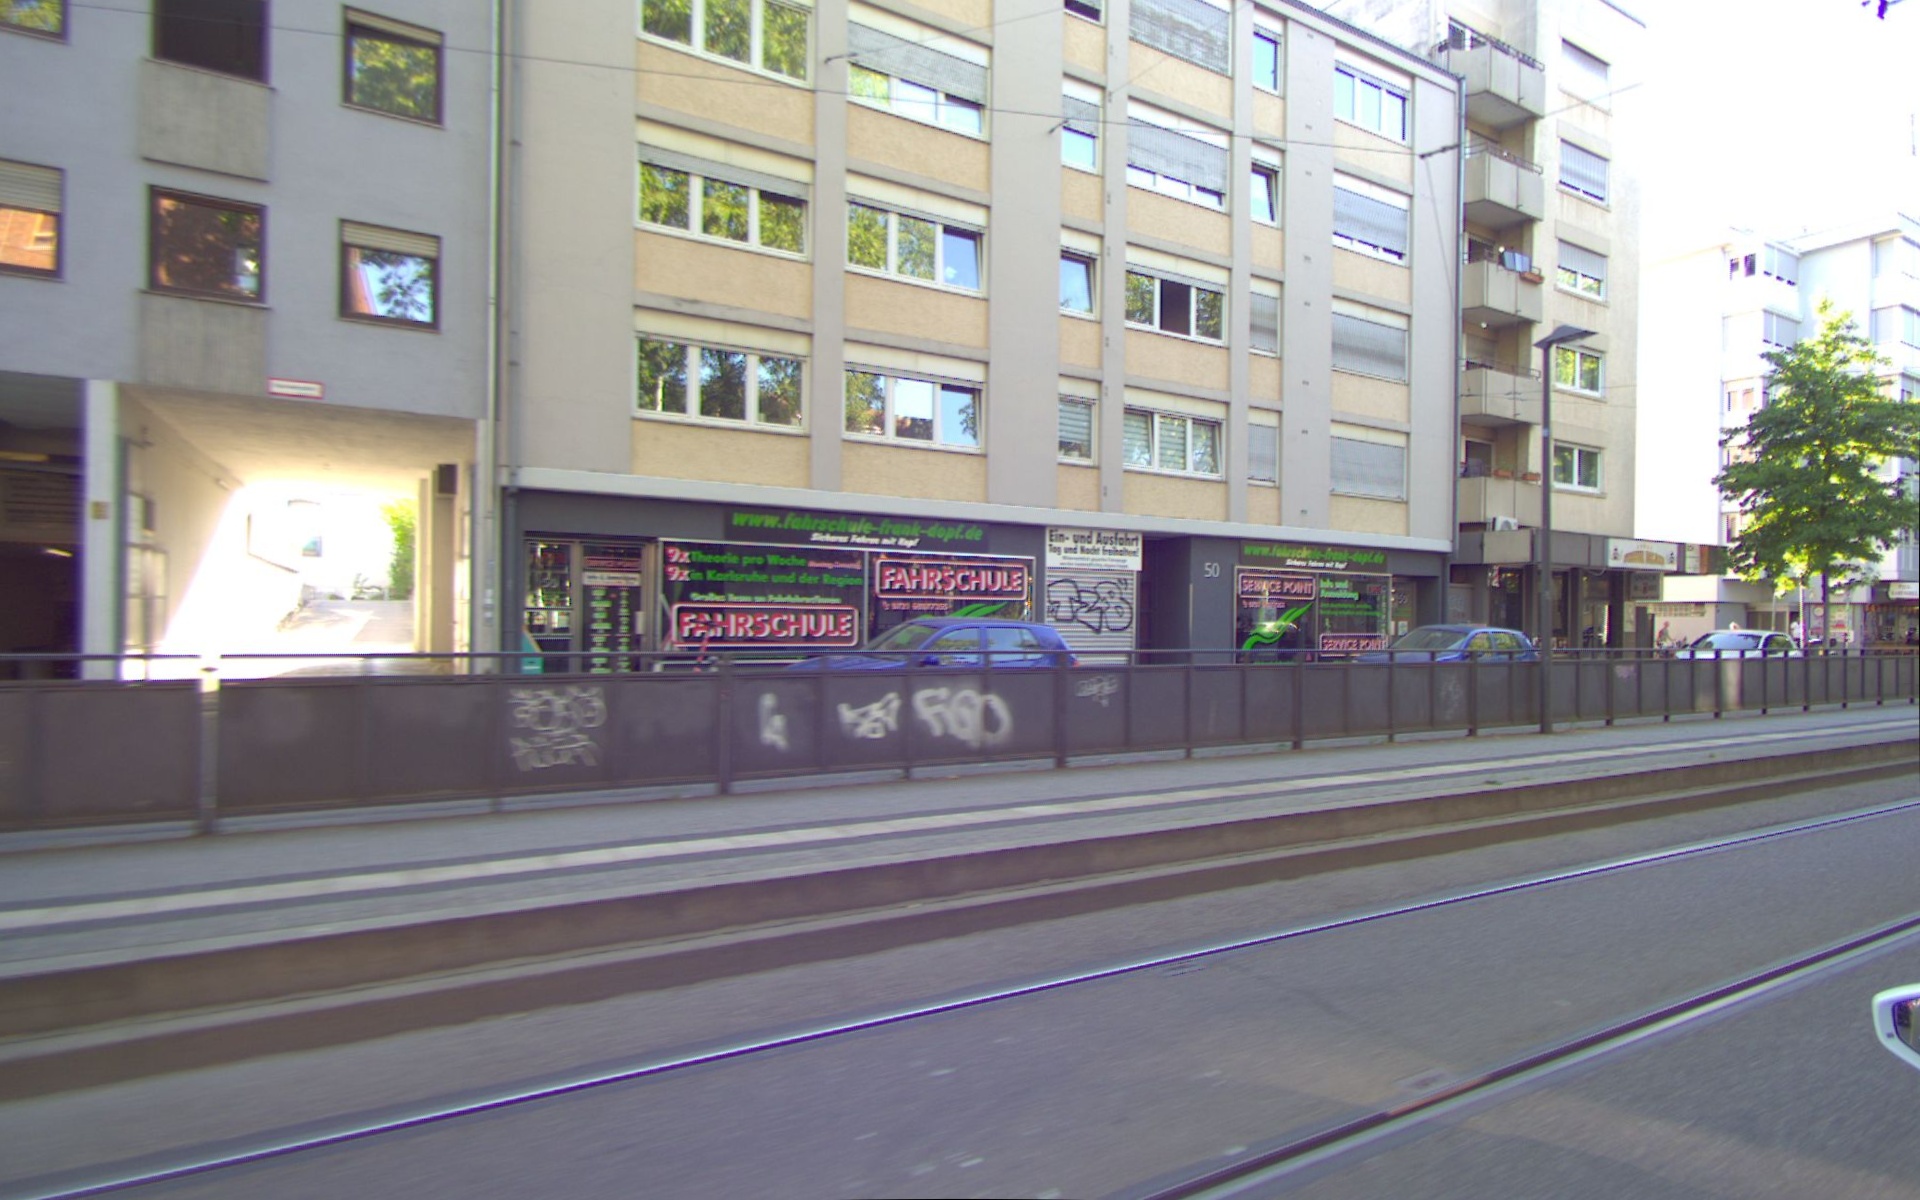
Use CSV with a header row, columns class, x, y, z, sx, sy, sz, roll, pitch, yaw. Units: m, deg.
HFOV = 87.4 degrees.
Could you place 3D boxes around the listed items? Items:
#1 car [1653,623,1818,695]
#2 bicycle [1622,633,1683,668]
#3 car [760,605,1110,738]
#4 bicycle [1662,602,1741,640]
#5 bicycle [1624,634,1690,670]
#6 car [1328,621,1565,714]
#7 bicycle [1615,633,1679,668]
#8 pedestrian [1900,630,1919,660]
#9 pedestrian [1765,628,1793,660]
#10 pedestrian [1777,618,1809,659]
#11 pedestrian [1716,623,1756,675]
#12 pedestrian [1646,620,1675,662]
class,x,y,z,sx,sy,sz,roll,pitch,yaw
car,19.452,1.436,25.166,4.309,1.673,1.868,1,-2,-32
bicycle,24.468,1.770,35.530,0.563,1.172,1.782,1,-1,-19
car,-0.264,0.858,13.038,4.232,1.483,1.786,1,-2,-30
bicycle,23.588,0.671,31.983,2.006,1.172,0.570,0,-1,38
bicycle,24.112,1.782,34.794,0.564,1.172,1.853,1,-1,-25
car,9.149,1.200,18.832,4.337,1.565,1.947,1,-2,-30
bicycle,23.855,1.733,34.893,0.567,1.172,1.771,1,-1,-36
pedestrian,39.850,1.887,42.098,0.553,1.214,0.513,0,-1,25
pedestrian,33.674,1.800,41.287,0.735,1.258,0.768,0,-1,26
pedestrian,34.619,1.605,41.743,0.756,1.681,0.747,1,-1,-16
pedestrian,24.247,1.517,31.381,0.715,1.577,0.724,1,-1,-21
pedestrian,28.995,1.687,41.576,0.761,1.693,0.752,1,-1,-36
